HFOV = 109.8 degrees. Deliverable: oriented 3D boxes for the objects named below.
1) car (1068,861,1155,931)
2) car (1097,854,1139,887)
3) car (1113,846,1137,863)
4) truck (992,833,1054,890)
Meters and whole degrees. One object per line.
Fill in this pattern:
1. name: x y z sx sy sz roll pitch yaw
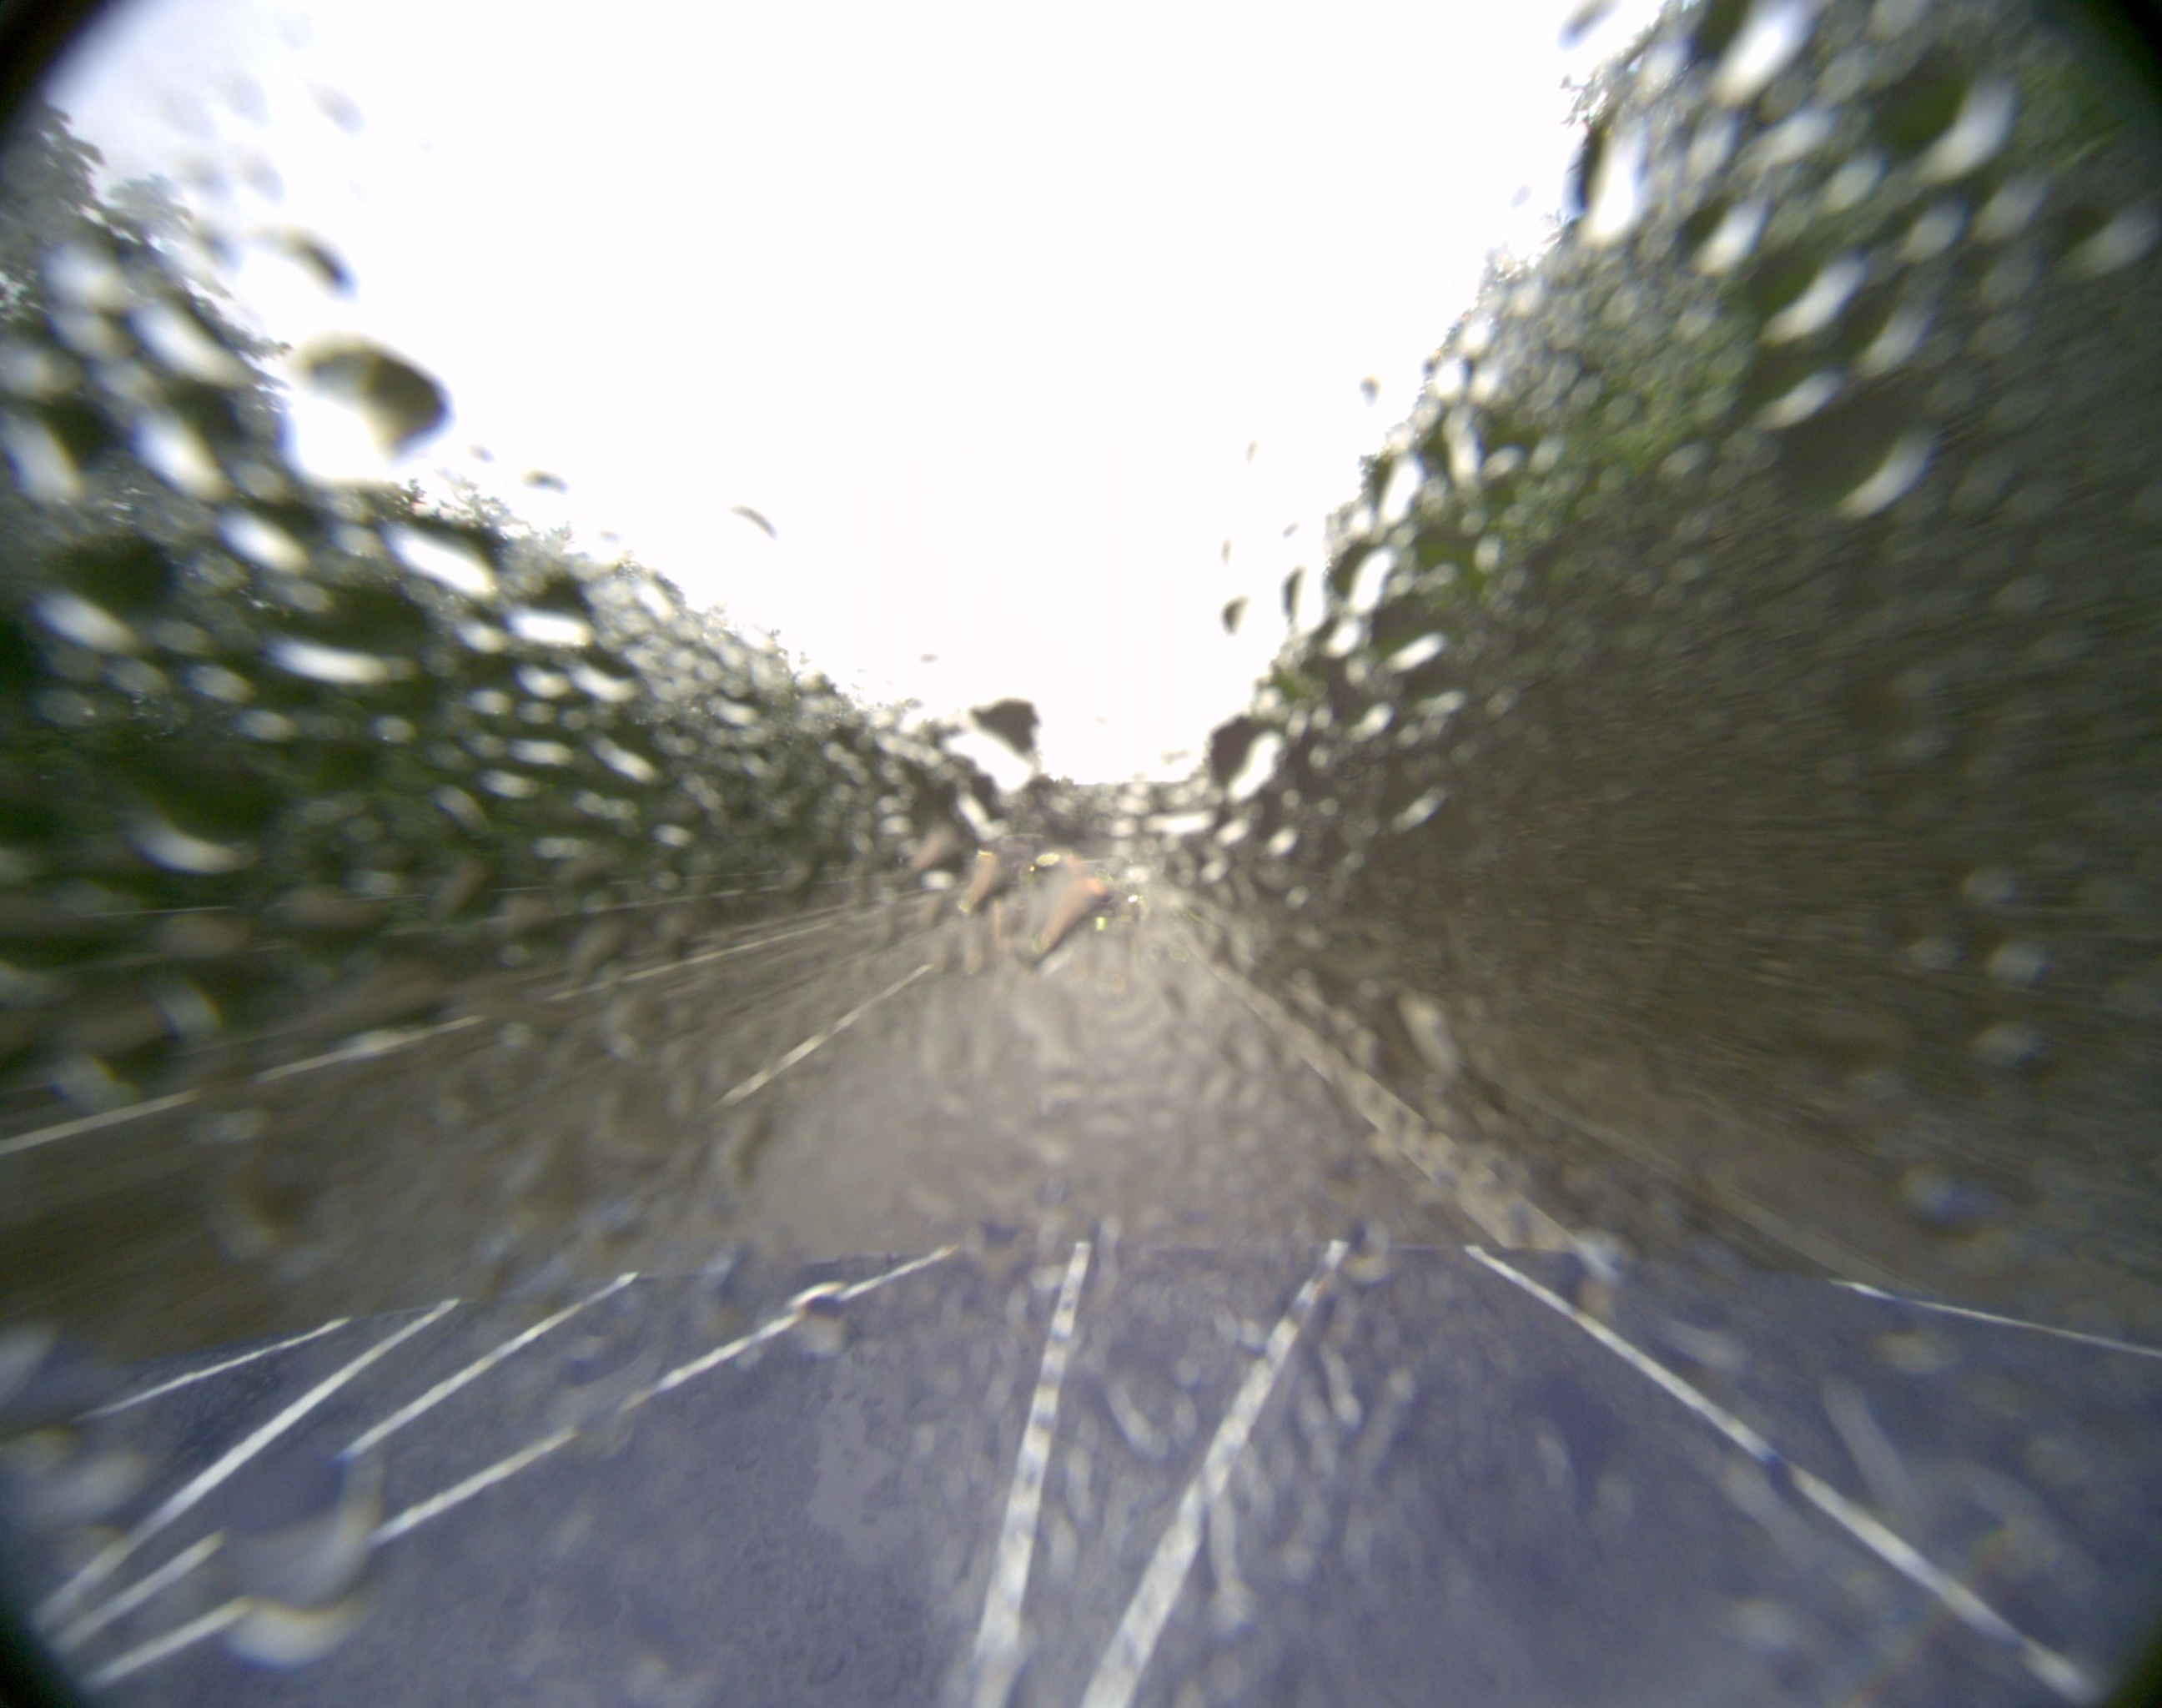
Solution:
1. car: 0.700 0.916 18.283 1.827 1.375 4.000 -2 0 1
2. car: 1.844 0.768 36.664 1.826 1.375 4.001 -2 0 5
3. car: 3.825 0.024 65.313 1.826 1.375 4.001 -2 0 6
4. truck: -2.693 0.318 37.358 2.108 2.481 8.003 -1 0 2
